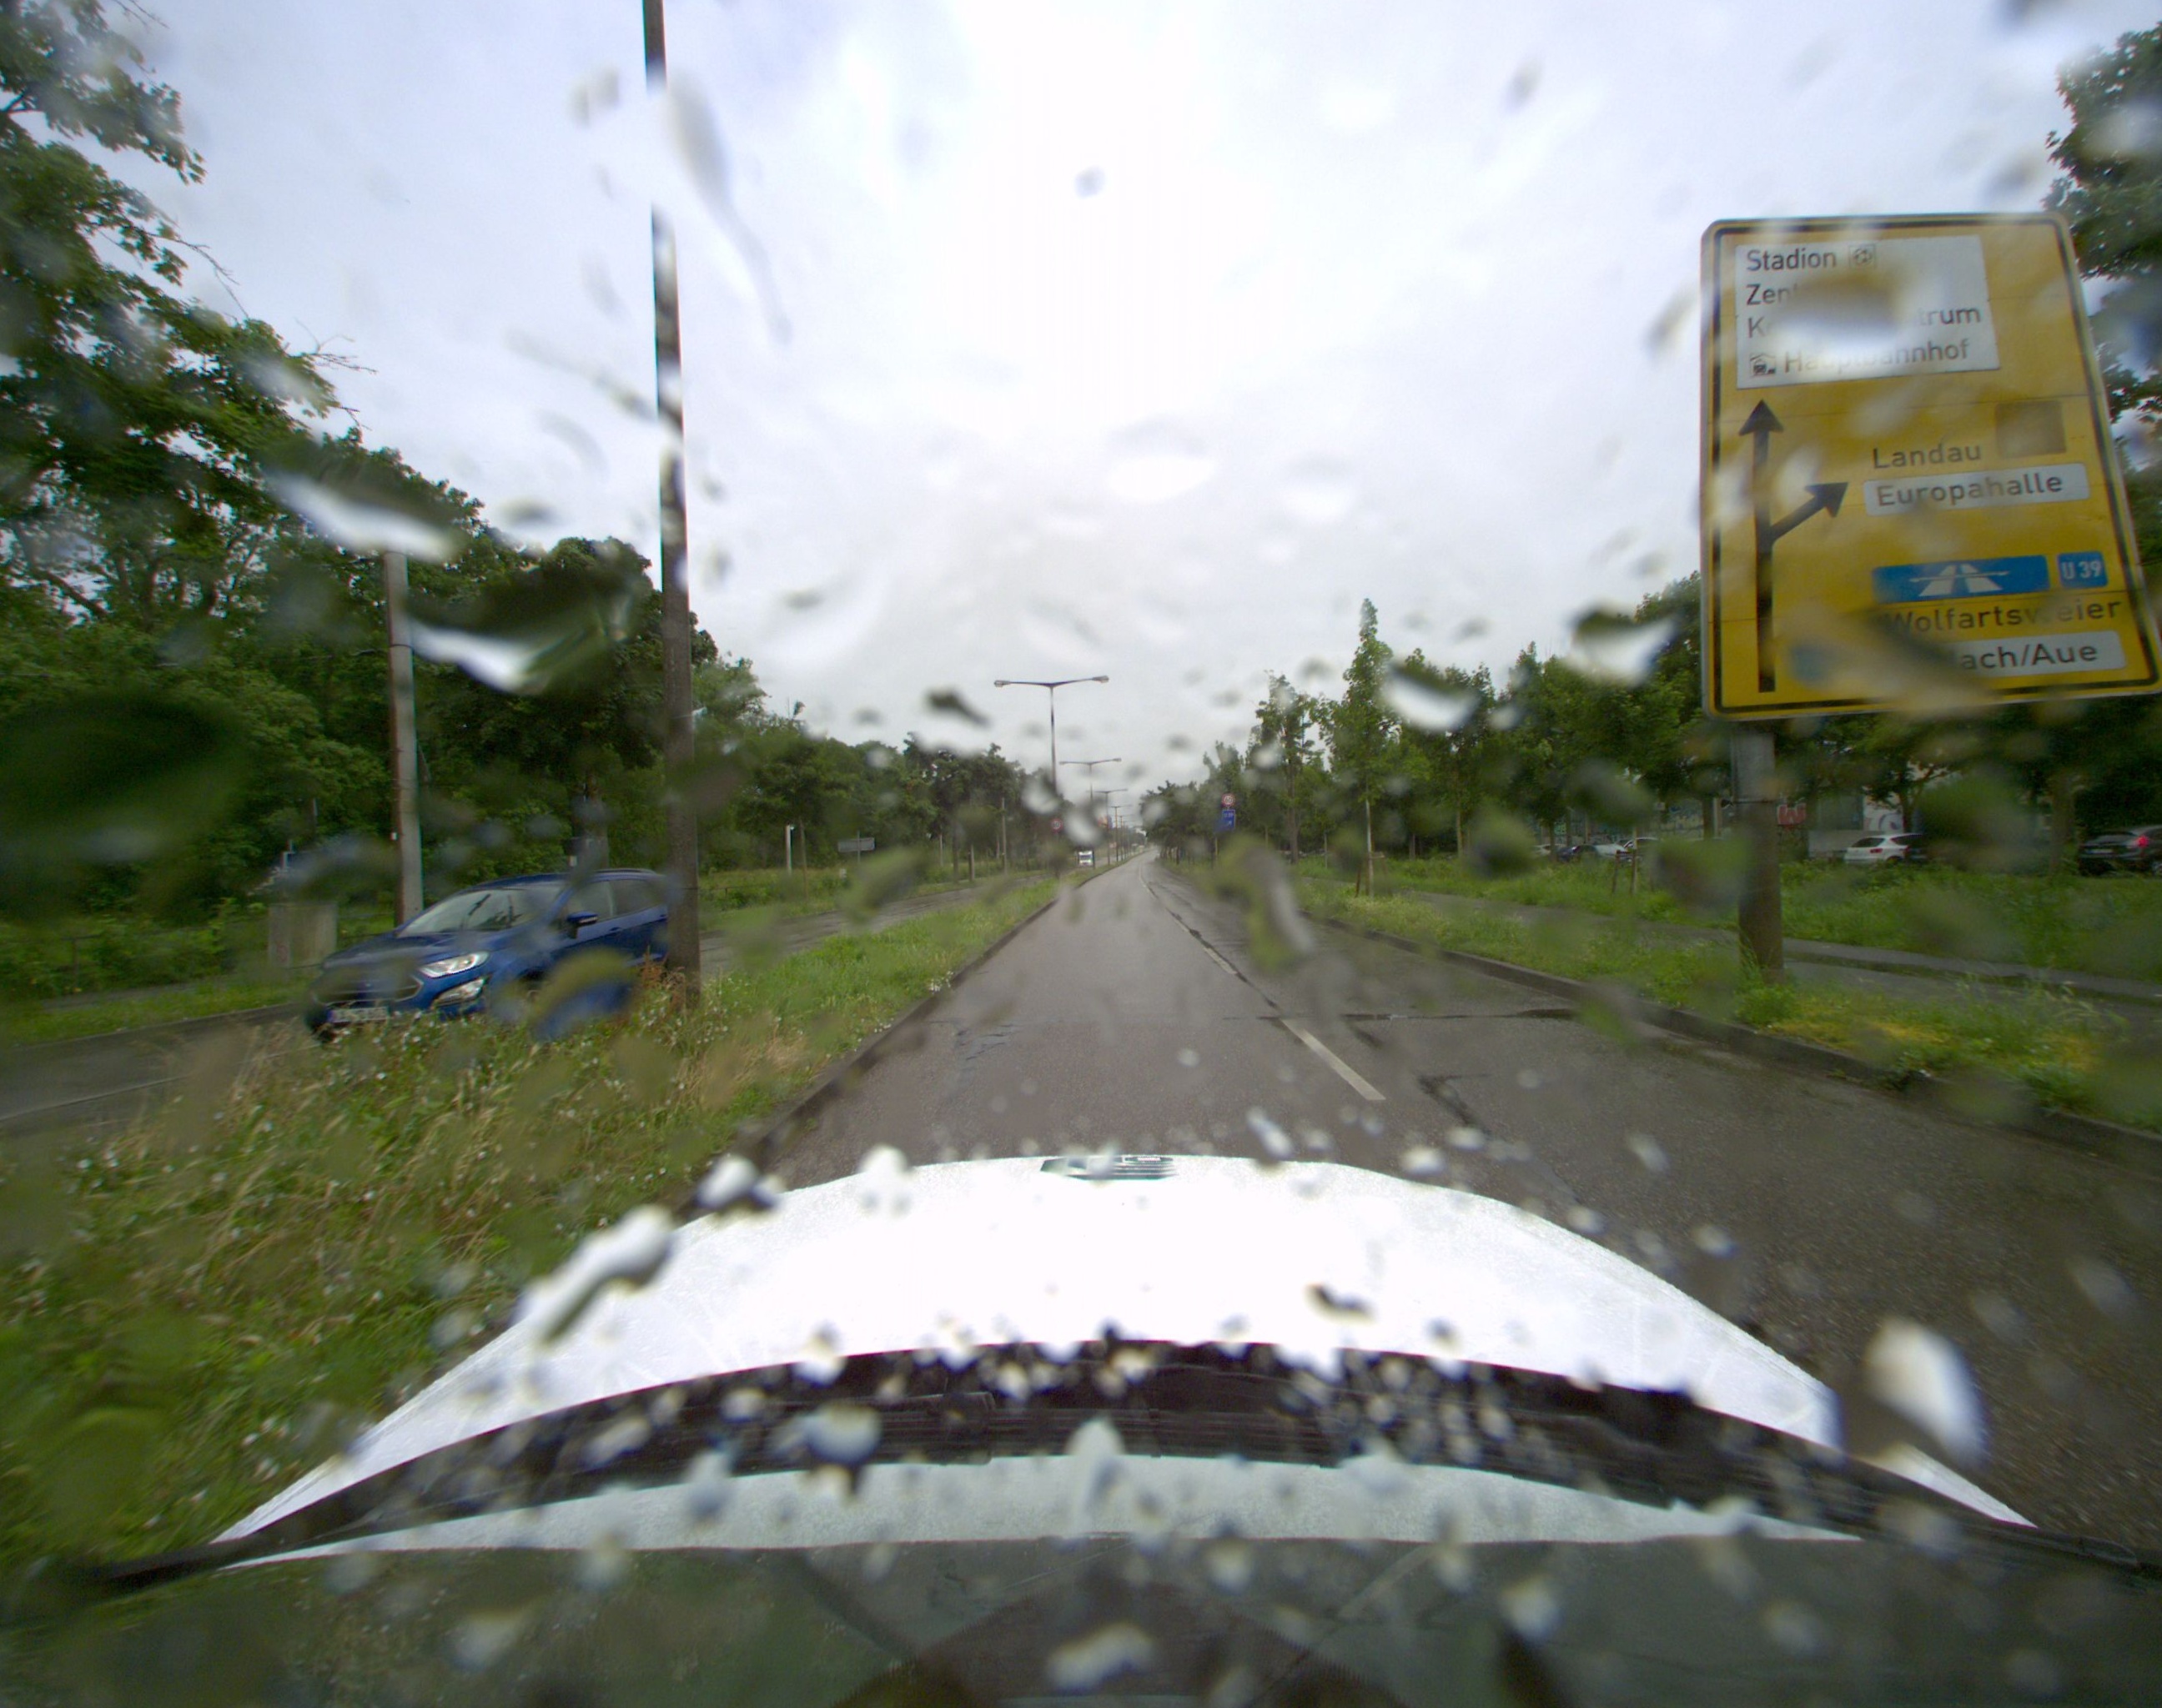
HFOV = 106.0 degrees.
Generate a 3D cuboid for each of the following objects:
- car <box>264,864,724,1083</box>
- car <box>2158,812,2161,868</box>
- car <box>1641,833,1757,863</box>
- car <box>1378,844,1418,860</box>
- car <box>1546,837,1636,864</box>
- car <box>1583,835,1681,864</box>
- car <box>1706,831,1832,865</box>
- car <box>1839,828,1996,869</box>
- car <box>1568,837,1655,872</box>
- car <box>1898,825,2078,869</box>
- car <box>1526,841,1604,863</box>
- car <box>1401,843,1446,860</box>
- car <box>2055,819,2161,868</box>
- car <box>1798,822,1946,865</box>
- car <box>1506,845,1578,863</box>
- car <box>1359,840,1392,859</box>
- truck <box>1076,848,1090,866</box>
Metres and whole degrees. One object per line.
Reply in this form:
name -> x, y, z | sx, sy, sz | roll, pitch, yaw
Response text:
car -> -5.809, 1.028, 8.854 | 1.736, 1.650, 4.139 | -4, 0, 3
car -> 31.041, -0.389, 20.864 | 4.320, 1.484, 1.945 | 0, -1, 0
car -> 32.569, -0.306, 43.045 | 4.545, 1.558, 1.949 | 0, -1, 7
car -> 36.900, -0.234, 94.902 | 3.937, 1.820, 1.899 | 0, -1, 4
car -> 32.464, -0.208, 51.951 | 4.557, 1.645, 1.999 | 0, -1, -2
car -> 32.962, -0.244, 48.793 | 4.555, 1.705, 2.000 | 0, -1, 0
car -> 32.420, -0.265, 38.486 | 4.320, 1.558, 1.945 | 0, -1, 0
car -> 31.651, -0.195, 30.904 | 4.175, 1.484, 1.760 | 0, -1, 0
car -> 24.731, -0.002, 38.133 | 1.736, 1.445, 4.130 | -2, 1, 6
car -> 31.243, -0.220, 28.160 | 4.113, 1.460, 1.791 | 0, -1, 3
car -> 34.562, -0.145, 58.218 | 4.557, 1.547, 1.862 | 0, -1, -2
car -> 35.825, -0.261, 85.270 | 3.937, 1.820, 1.899 | 0, -1, 4
car -> 31.072, -0.273, 23.302 | 4.165, 1.340, 1.867 | 0, -1, 0
car -> 32.941, -0.406, 34.009 | 4.320, 1.725, 1.945 | 0, -1, 0
car -> 34.259, -0.006, 60.589 | 4.386, 1.334, 1.836 | 0, -1, -2
car -> 38.053, -0.574, 105.229 | 3.705, 2.324, 1.590 | 0, -1, 4
truck -> 0.368, 0.589, 139.328 | 2.129, 2.843, 5.076 | -3, -1, 2
